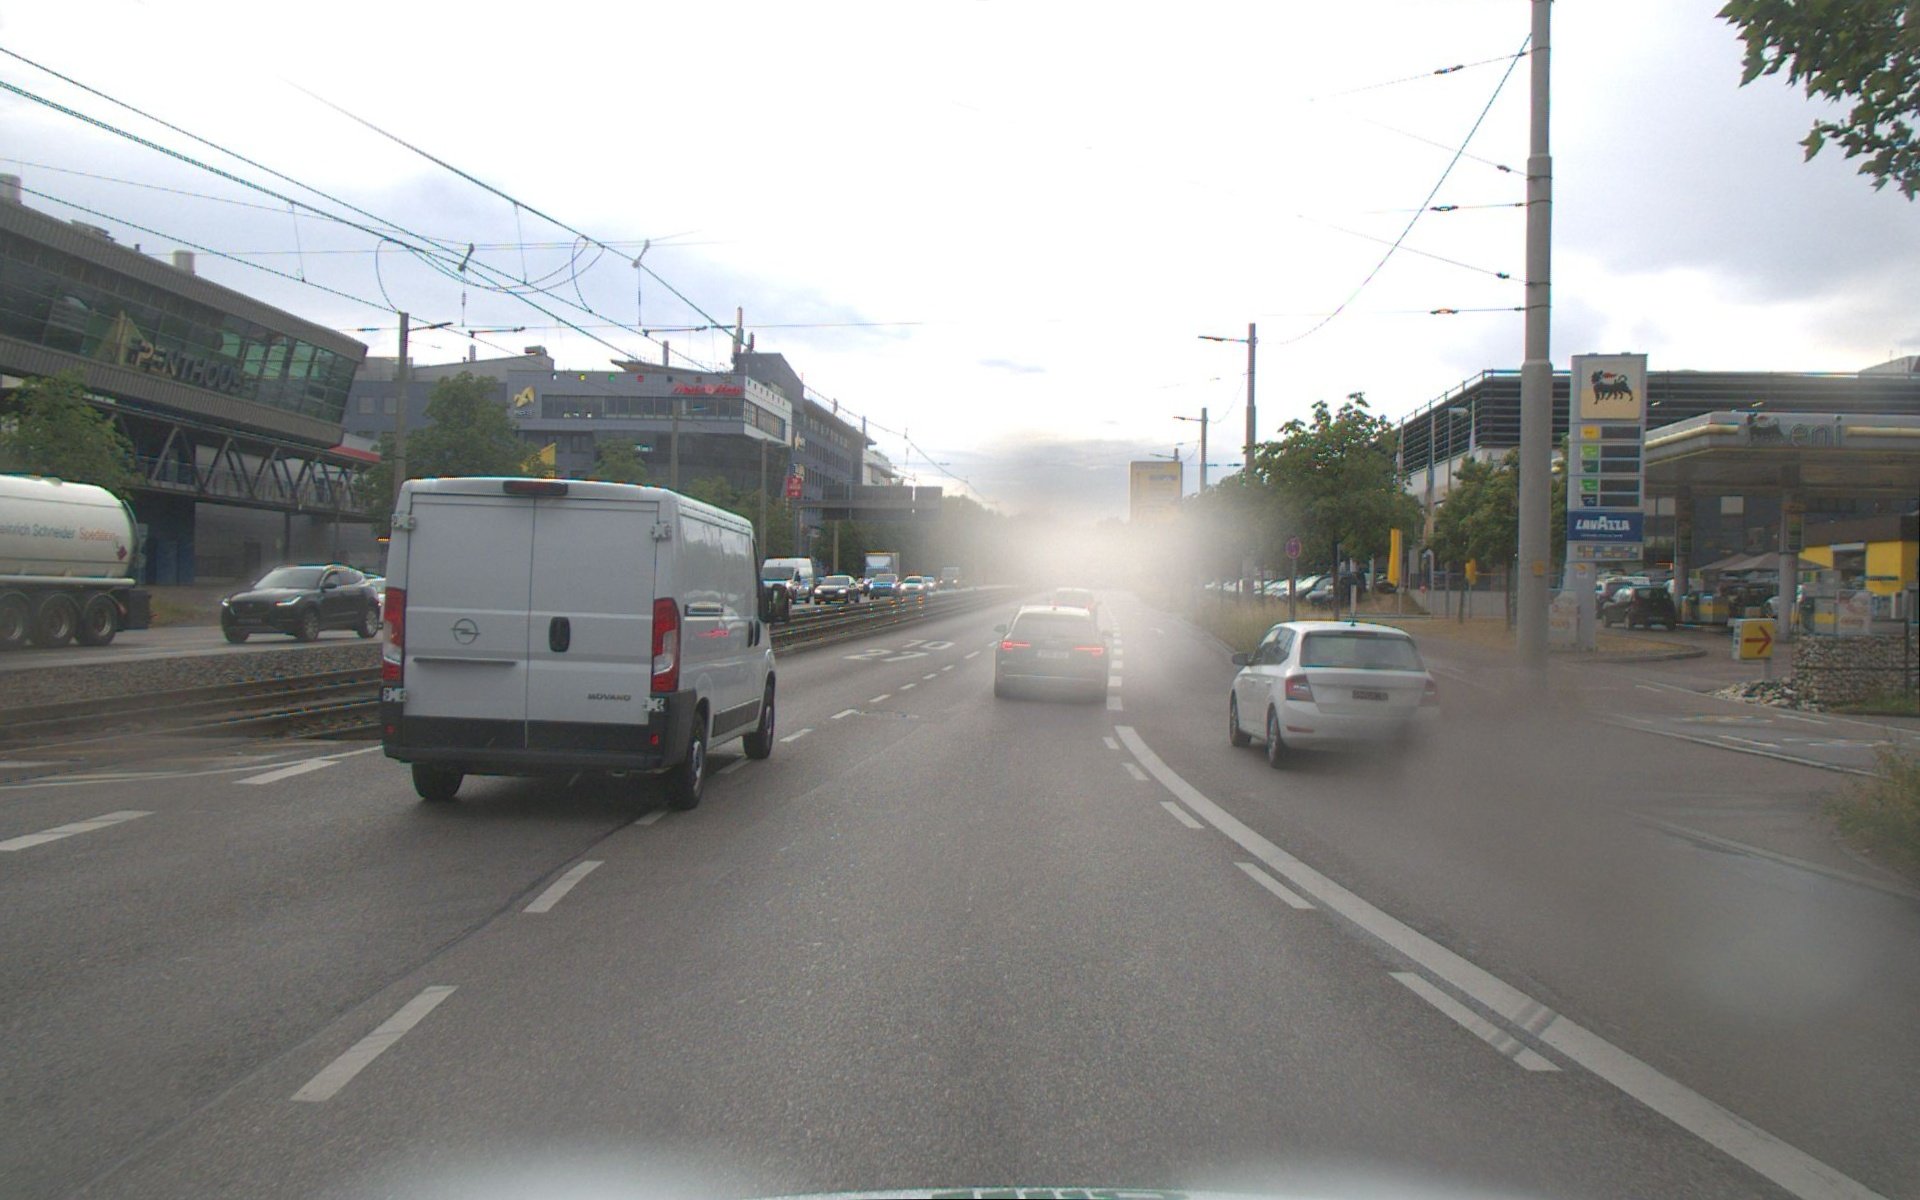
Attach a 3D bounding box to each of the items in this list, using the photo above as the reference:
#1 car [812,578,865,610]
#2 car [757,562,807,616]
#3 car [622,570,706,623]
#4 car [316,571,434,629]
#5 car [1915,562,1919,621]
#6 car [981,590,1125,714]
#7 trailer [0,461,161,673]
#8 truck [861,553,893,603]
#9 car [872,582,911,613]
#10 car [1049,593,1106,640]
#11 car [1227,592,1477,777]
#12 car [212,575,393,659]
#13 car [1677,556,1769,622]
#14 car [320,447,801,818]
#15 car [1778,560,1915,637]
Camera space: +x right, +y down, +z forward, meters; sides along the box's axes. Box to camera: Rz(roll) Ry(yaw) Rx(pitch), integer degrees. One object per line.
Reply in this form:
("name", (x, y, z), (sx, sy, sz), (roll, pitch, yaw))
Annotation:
("car", (-6.464, -0.310, 88.388), (1.762, 1.649, 4.959), (1, 0, 8))
("car", (-9.695, -0.608, 90.510), (2.115, 2.769, 5.067), (3, 1, -1))
("car", (-11.496, -0.156, 64.599), (1.762, 1.961, 4.807), (1, 0, 8))
("car", (-16.495, -0.026, 46.831), (1.530, 1.536, 3.994), (1, 1, 6))
("car", (34.196, -0.211, 55.707), (1.832, 2.048, 3.775), (3, 1, 1))
("car", (1.409, 0.765, 26.543), (1.953, 1.665, 4.000), (4, 1, -1))
("trailer", (-19.187, -0.605, 30.049), (2.666, 3.922, 11.238), (0, 0, 7))
("truck", (-6.499, -1.729, 130.359), (2.115, 3.708, 6.873), (3, 1, -1))
("car", (-4.453, -0.192, 108.862), (2.114, 1.918, 4.303), (3, 1, 2))
("car", (4.072, 0.540, 56.959), (1.854, 1.491, 3.912), (2, 0, 5))
("car", (4.035, 0.787, 17.677), (1.791, 1.685, 4.001), (2, 0, 2))
("car", (-14.512, 0.347, 36.781), (1.882, 1.681, 4.200), (2, 1, 7))
("car", (25.600, -0.367, 55.606), (1.644, 2.048, 3.544), (3, 1, 6))
("car", (-2.805, 0.181, 13.056), (2.394, 2.334, 4.906), (1, 1, 2))
("car", (24.787, -0.077, 46.401), (1.951, 2.067, 4.002), (0, 1, 4))
